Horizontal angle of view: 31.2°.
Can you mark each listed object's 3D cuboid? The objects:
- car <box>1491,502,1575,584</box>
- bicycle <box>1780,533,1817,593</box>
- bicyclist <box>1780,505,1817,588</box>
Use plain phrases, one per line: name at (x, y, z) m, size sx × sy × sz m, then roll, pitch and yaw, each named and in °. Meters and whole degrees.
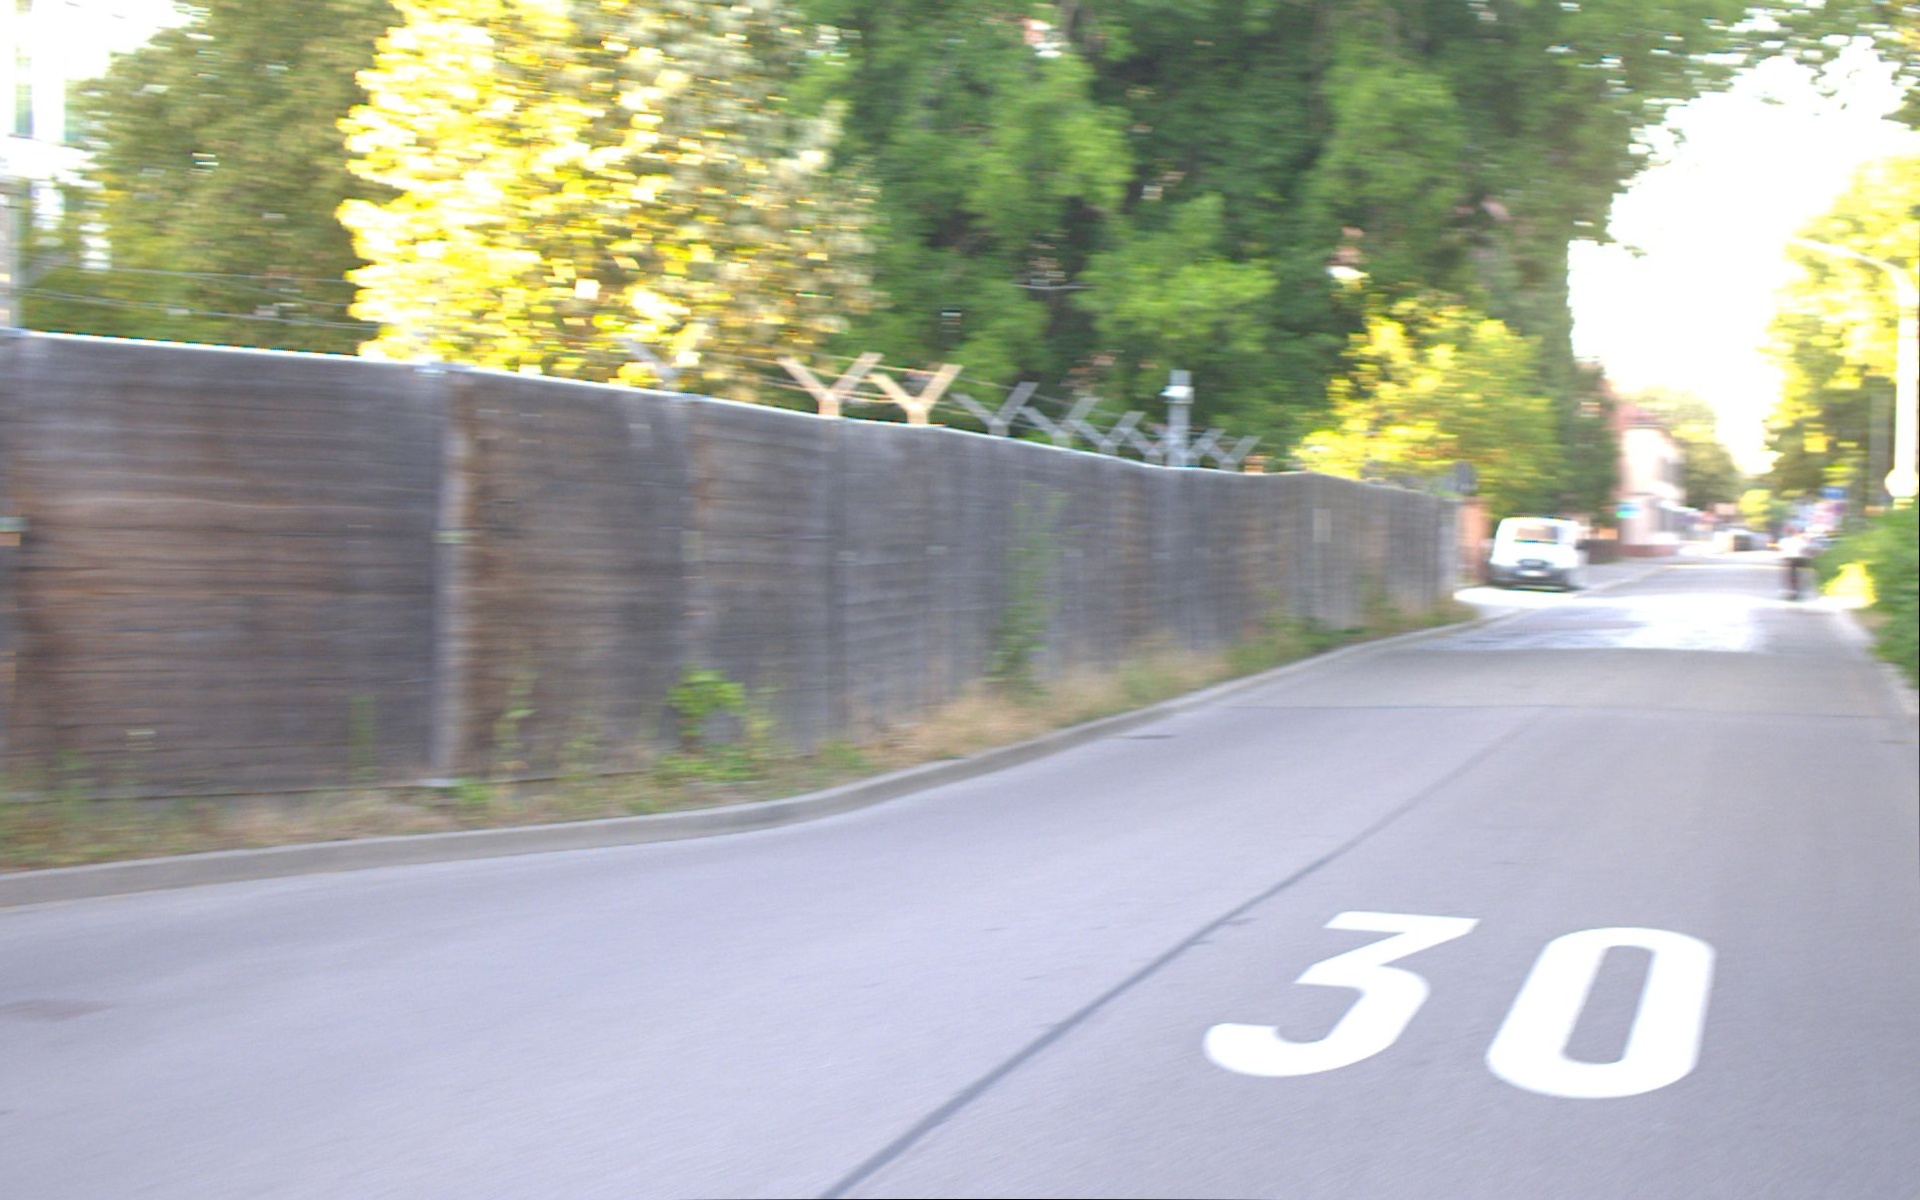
car at (15.123, -1.477, 90.533) m, size 1.883 × 2.007 × 5.223 m, roll 3°, pitch 0°, yaw 12°
bicycle at (17.196, -0.760, 70.525) m, size 0.638 × 1.189 × 1.875 m, roll 2°, pitch 1°, yaw 12°
bicyclist at (17.214, -1.096, 70.584) m, size 0.639 × 1.661 × 0.842 m, roll 2°, pitch 1°, yaw 12°
